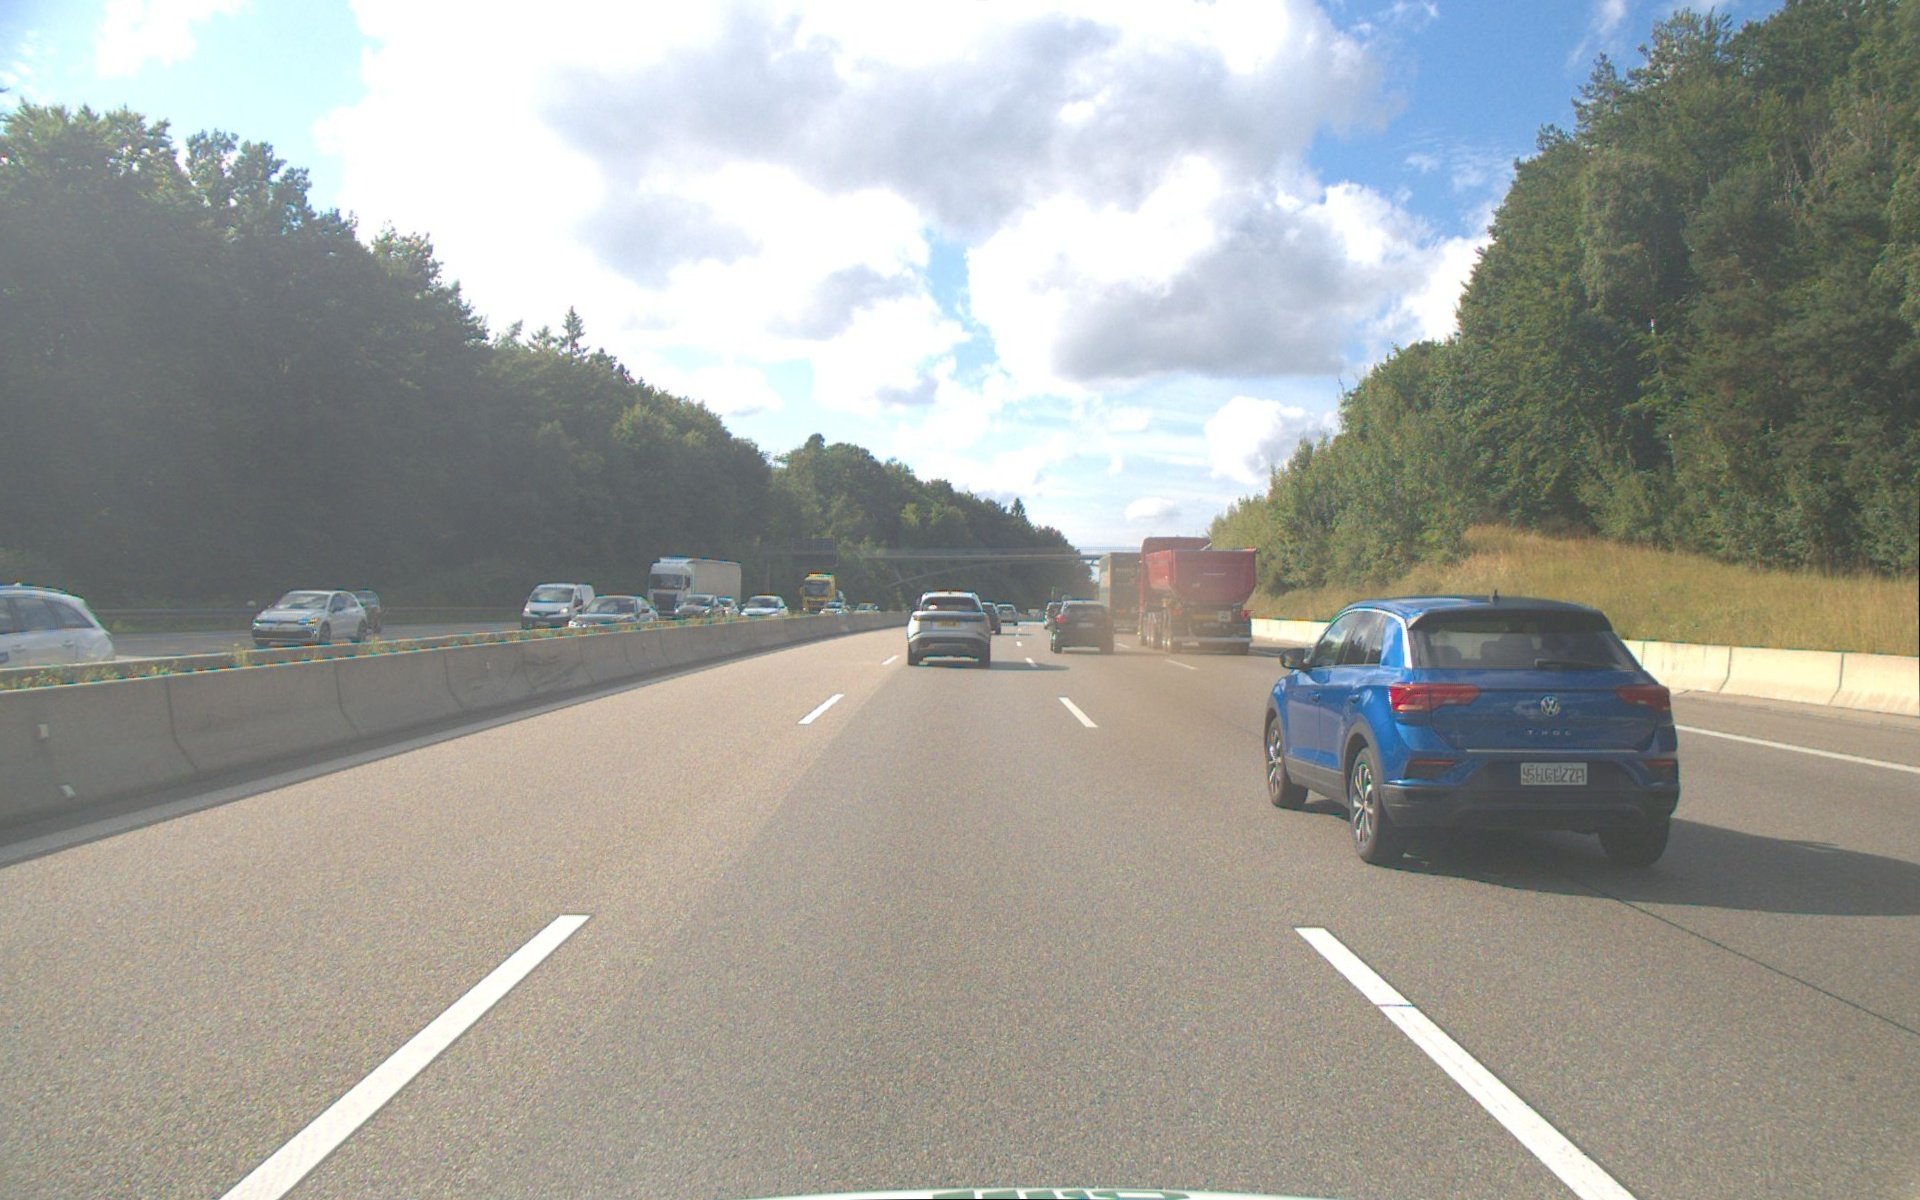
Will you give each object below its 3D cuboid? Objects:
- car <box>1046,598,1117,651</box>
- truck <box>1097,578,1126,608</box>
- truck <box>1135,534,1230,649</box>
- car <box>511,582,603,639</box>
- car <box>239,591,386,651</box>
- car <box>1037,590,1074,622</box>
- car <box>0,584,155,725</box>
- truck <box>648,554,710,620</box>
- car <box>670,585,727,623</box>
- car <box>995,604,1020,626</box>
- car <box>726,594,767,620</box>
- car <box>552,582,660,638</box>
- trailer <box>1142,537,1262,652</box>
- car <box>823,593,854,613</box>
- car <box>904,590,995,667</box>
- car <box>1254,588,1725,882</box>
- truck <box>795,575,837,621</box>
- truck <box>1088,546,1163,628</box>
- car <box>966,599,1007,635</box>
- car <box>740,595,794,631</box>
[{"bbox_3d":[3.569,0.693,49.155,1.785,1.483,4.000,1,0,0],"label":"car"},{"bbox_3d":[15.564,-0.654,169.927,2.784,2.976,8.390,1,0,5],"label":"truck"},{"bbox_3d":[7.664,-0.289,57.565,2.654,3.784,5.819,1,0,2],"label":"truck"},{"bbox_3d":[-13.825,0.333,56.988,1.952,1.869,4.730,1,0,0],"label":"car"},{"bbox_3d":[-17.195,0.531,44.209,2.029,1.498,4.671,1,0,1],"label":"car"},{"bbox_3d":[5.647,0.341,98.055,1.855,1.889,4.100,1,0,-1],"label":"car"},{"bbox_3d":[-10.066,0.502,16.293,1.953,1.331,4.831,1,0,-1],"label":"car"},{"bbox_3d":[-18.393,-0.841,108.723,2.650,4.139,6.600,1,0,2],"label":"truck"},{"bbox_3d":[-12.530,0.178,79.507,1.952,1.716,4.680,1,0,1],"label":"car"},{"bbox_3d":[3.430,1.076,119.060,1.784,1.483,4.001,1,0,2],"label":"car"},{"bbox_3d":[-13.284,0.423,102.993,1.809,1.524,4.130,1,0,2],"label":"car"},{"bbox_3d":[-9.679,0.252,45.623,1.953,1.415,4.748,1,0,0],"label":"car"},{"bbox_3d":[7.538,-0.163,52.655,2.654,3.288,9.735,1,0,2],"label":"trailer"},{"bbox_3d":[-9.451,0.190,128.836,1.952,1.512,4.984,1,0,1],"label":"car"},{"bbox_3d":[-0.271,0.606,38.847,1.965,1.644,5.300,1,0,-1],"label":"car"},{"bbox_3d":[3.209,0.711,11.015,1.736,1.557,4.458,0,0,0],"label":"car"},{"bbox_3d":[-12.591,-0.172,144.770,2.718,3.877,7.136,1,0,2],"label":"truck"},{"bbox_3d":[8.540,-0.640,86.559,3.054,4.003,10.412,1,0,1],"label":"truck"},{"bbox_3d":[1.274,0.791,77.786,1.784,1.573,4.001,2,0,3],"label":"car"},{"bbox_3d":[-8.760,0.567,75.442,1.717,1.534,4.681,1,0,2],"label":"car"}]
